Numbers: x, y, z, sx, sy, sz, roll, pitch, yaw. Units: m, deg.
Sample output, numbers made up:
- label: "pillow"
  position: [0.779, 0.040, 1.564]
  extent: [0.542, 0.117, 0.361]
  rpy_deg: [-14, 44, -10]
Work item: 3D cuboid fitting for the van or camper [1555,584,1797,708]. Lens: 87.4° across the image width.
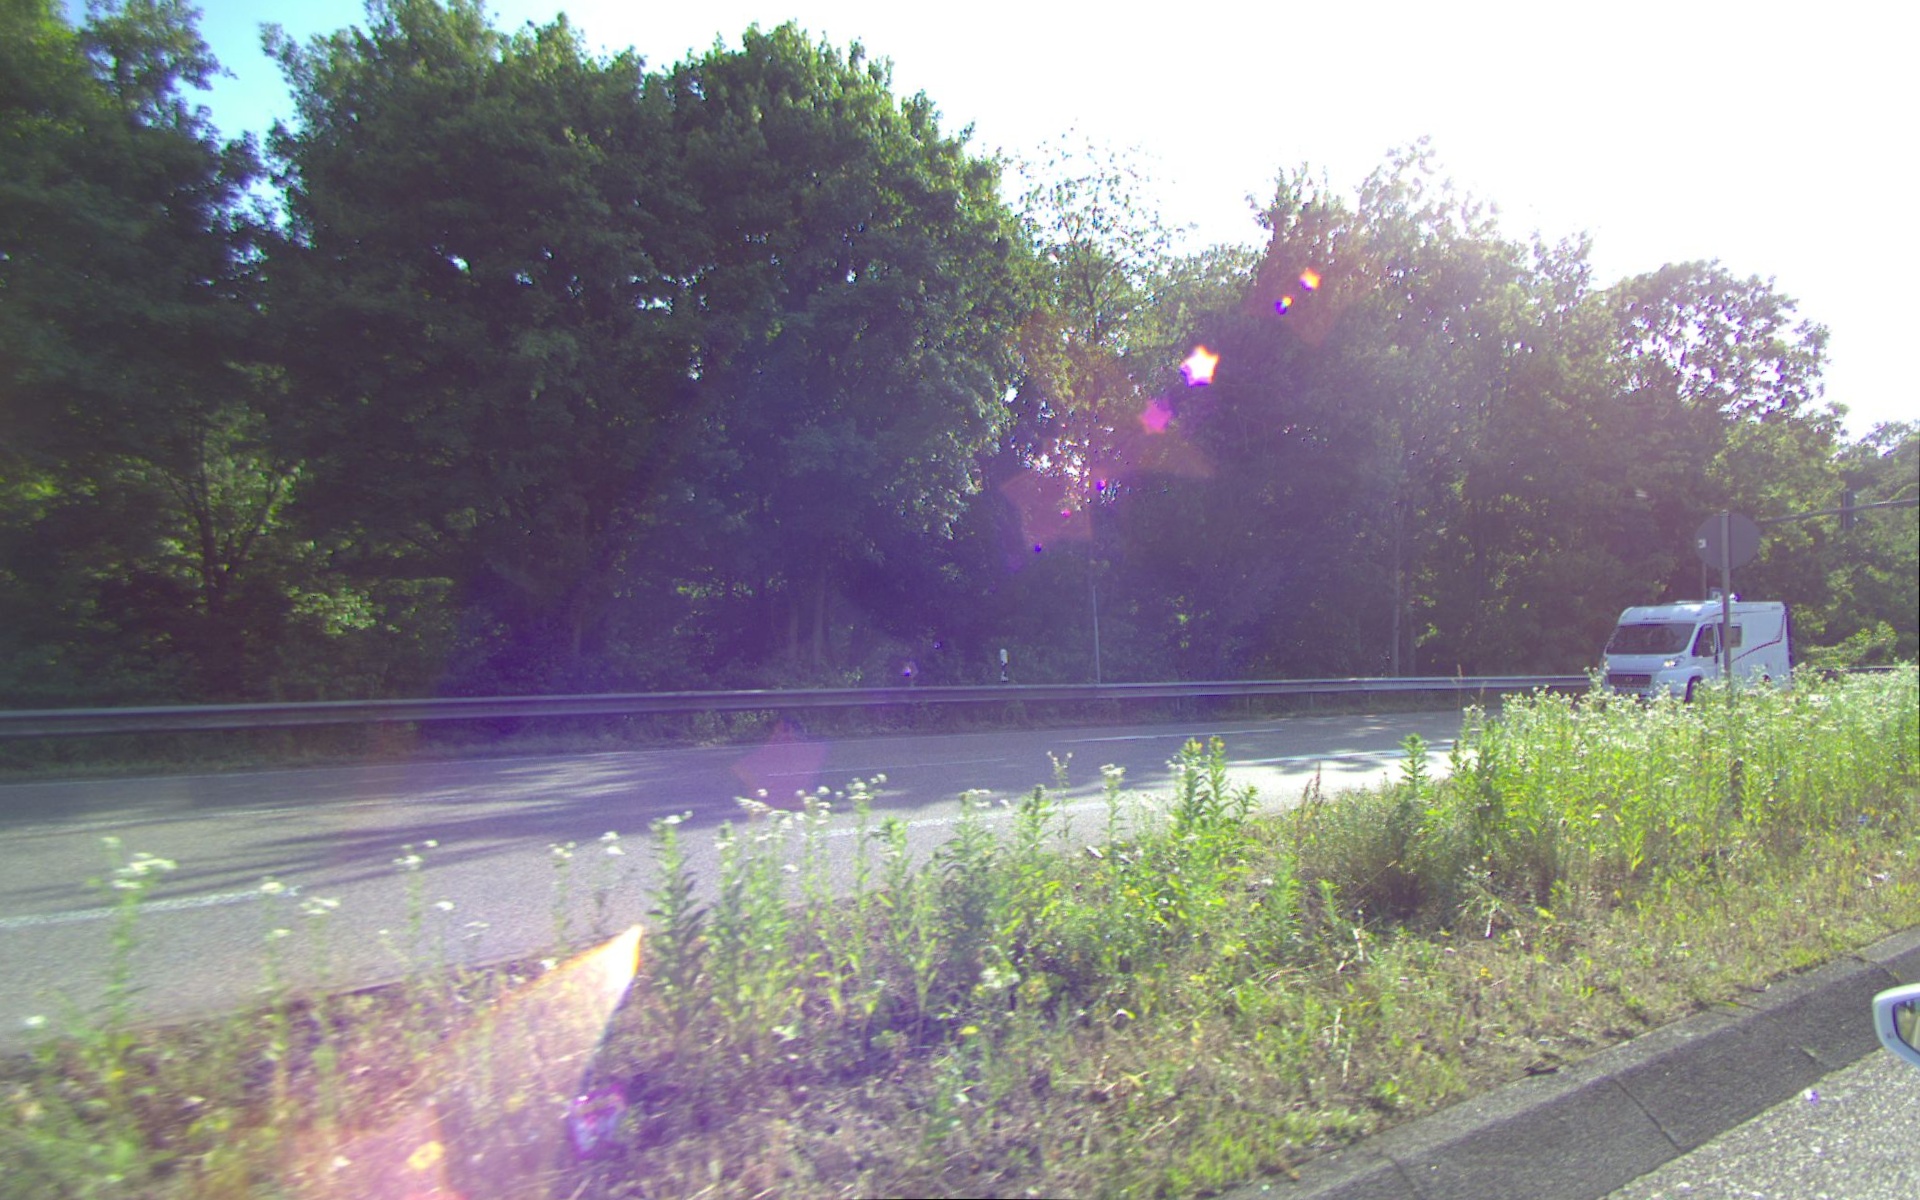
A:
- label: "van or camper"
  position: [17.826, 1.170, 24.931]
  extent: [6.361, 2.746, 2.402]
  rpy_deg: [1, -4, -30]
